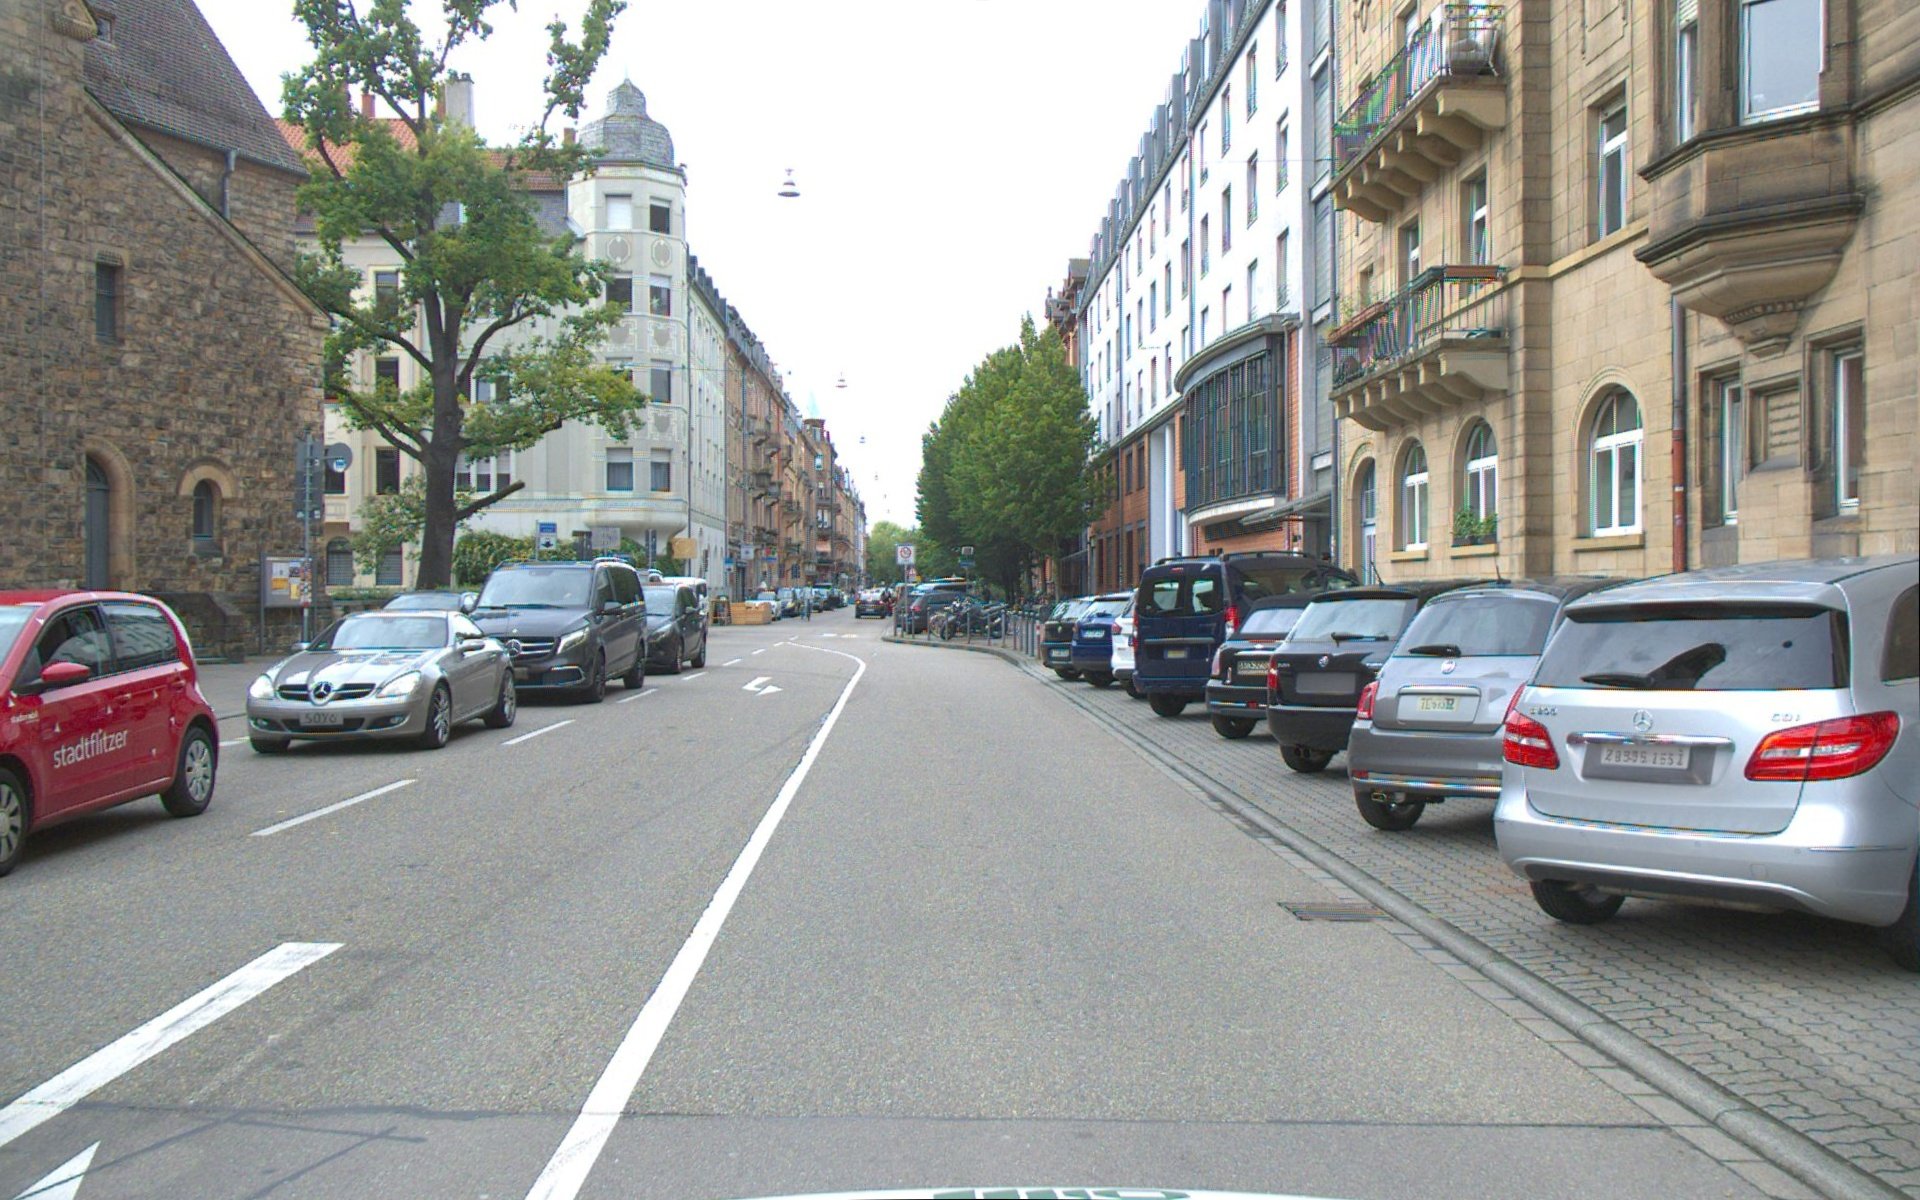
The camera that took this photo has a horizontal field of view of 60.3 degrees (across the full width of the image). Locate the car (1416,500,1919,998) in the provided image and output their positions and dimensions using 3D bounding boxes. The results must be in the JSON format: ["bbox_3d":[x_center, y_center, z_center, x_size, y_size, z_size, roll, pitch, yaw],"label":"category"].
[{"bbox_3d":[4.441,0.447,7.918,4.705,1.714,1.910,-3,0,-38],"label":"car"}]

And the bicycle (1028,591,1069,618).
[{"bbox_3d":[3.778,0.191,70.501,1.717,1.111,0.565,0,-1,-3],"label":"bicycle"}]

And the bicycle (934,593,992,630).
[{"bbox_3d":[0.098,0.393,54.159,1.847,1.161,0.611,-1,-1,-5],"label":"bicycle"}]

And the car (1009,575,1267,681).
[{"bbox_3d":[3.101,0.434,28.728,4.196,1.504,1.670,-4,2,-26],"label":"car"}]

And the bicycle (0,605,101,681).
[{"bbox_3d":[-14.667,0.671,26.264,1.740,1.187,0.742,0,0,11],"label":"bicycle"}]

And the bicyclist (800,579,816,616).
[{"bbox_3d":[-7.817,-0.144,84.998,0.766,1.899,0.714,0,0,0],"label":"bicyclist"}]

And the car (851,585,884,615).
[{"bbox_3d":[-5.485,0.020,98.336,1.954,1.710,3.997,0,-1,-3],"label":"car"}]

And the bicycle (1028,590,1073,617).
[{"bbox_3d":[3.731,0.161,68.291,1.799,1.111,0.542,0,-1,-3],"label":"bicycle"}]

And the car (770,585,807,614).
[{"bbox_3d":[-10.361,-0.027,99.937,1.905,1.645,3.941,1,0,-2],"label":"car"}]

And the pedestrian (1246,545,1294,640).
[{"bbox_3d":[5.982,-0.151,31.964,0.617,1.784,0.811,-3,0,-5],"label":"pedestrian"}]

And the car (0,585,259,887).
[{"bbox_3d":[-5.584,0.706,9.561,1.570,1.482,3.716,-2,0,-3],"label":"car"}]

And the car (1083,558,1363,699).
[{"bbox_3d":[3.734,0.346,23.140,3.967,1.629,1.739,-5,2,-42],"label":"car"}]

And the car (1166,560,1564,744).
[{"bbox_3d":[4.276,0.475,17.175,4.035,1.478,2.002,-5,1,-41],"label":"car"}]

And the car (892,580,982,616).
[{"bbox_3d":[-1.365,-0.139,99.997,5.344,2.027,1.925,-1,0,-36],"label":"car"}]

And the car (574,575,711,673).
[{"bbox_3d":[-5.886,0.391,31.161,1.807,1.713,4.547,0,1,-1],"label":"car"}]

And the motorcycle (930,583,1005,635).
[{"bbox_3d":[0.215,0.261,48.449,2.092,1.454,0.770,-1,-1,-5],"label":"motorcycle"}]

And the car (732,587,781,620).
[{"bbox_3d":[-10.158,0.177,82.925,1.904,1.580,3.817,-1,0,1],"label":"car"}]

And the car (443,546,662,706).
[{"bbox_3d":[-5.564,0.301,23.278,1.873,1.989,5.282,0,1,-1],"label":"car"}]

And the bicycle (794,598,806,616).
[{"bbox_3d":[-8.662,0.382,89.527,0.524,0.995,1.864,0,-1,-2],"label":"bicycle"}]

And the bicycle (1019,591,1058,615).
[{"bbox_3d":[3.582,0.138,75.511,1.717,1.111,0.565,0,-1,-3],"label":"bicycle"}]

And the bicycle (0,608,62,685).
[{"bbox_3d":[-14.828,0.703,25.471,1.740,1.150,0.662,0,0,11],"label":"bicycle"}]

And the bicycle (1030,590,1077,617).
[{"bbox_3d":[3.812,0.154,67.485,1.857,1.111,0.542,0,-1,-3],"label":"bicycle"}]

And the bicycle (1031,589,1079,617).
[{"bbox_3d":[3.837,0.136,66.880,1.894,1.111,0.576,0,-1,-3],"label":"bicycle"}]

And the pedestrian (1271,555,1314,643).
[{"bbox_3d":[5.947,-0.008,29.572,0.558,1.556,0.545,1,-2,-44],"label":"pedestrian"}]

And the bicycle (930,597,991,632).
[{"bbox_3d":[0.013,0.464,51.972,1.847,1.061,0.611,-1,-1,-5],"label":"bicycle"}]

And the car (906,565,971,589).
[{"bbox_3d":[-1.811,-1.947,140.310,5.333,1.900,1.929,-1,0,-32],"label":"car"}]

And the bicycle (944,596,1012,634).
[{"bbox_3d":[0.543,0.463,49.565,1.970,1.081,0.611,-1,-1,-5],"label":"bicycle"}]

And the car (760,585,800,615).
[{"bbox_3d":[-10.253,-0.014,94.465,1.905,1.645,3.941,1,0,-2],"label":"car"}]

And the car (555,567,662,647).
[{"bbox_3d":[-9.483,0.153,45.038,1.973,2.049,5.181,0,0,-2],"label":"car"}]

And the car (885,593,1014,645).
[{"bbox_3d":[-0.355,0.642,58.253,4.239,1.606,1.840,-3,1,-35],"label":"car"}]

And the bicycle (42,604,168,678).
[{"bbox_3d":[-13.997,0.663,27.094,1.740,1.172,0.742,0,0,11],"label":"bicycle"}]

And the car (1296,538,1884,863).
[{"bbox_3d":[4.307,0.492,10.930,4.426,1.601,1.721,-4,2,-41],"label":"car"}]

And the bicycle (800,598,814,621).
[{"bbox_3d":[-7.831,0.484,84.729,0.556,1.106,1.986,0,0,0],"label":"bicycle"}]

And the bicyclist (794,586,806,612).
[{"bbox_3d":[-8.655,-0.045,89.506,0.655,1.423,0.783,0,-1,-5],"label":"bicyclist"}]

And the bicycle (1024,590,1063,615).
[{"bbox_3d":[3.761,0.098,74.777,1.717,1.111,0.565,0,-1,-3],"label":"bicycle"}]

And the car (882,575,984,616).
[{"bbox_3d":[-1.472,-0.276,91.805,5.563,2.164,1.925,-1,0,-36],"label":"car"}]

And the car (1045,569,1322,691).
[{"bbox_3d":[3.506,0.418,25.843,3.948,1.560,1.912,-4,2,-31],"label":"car"}]

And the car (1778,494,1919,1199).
[{"bbox_3d":[4.284,0.527,4.566,4.178,1.712,1.892,-2,0,-36],"label":"car"}]

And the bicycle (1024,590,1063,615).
[{"bbox_3d":[3.720,0.113,73.960,1.717,1.111,0.565,0,-1,-3],"label":"bicycle"}]

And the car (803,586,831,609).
[{"bbox_3d":[-11.033,-0.188,128.011,1.905,1.772,3.941,1,0,-2],"label":"car"}]

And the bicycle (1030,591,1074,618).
[{"bbox_3d":[3.826,0.172,68.948,1.799,1.111,0.565,0,-1,-3],"label":"bicycle"}]

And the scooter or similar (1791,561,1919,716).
[{"bbox_3d":[7.550,0.321,13.857,0.425,1.208,1.218,-6,-1,-1],"label":"scooter or similar"}]

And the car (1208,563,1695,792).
[{"bbox_3d":[4.243,0.526,13.907,4.425,1.579,1.824,-2,1,-41],"label":"car"}]

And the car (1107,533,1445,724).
[{"bbox_3d":[3.903,0.262,20.010,4.250,1.939,1.850,-4,2,-43],"label":"car"}]

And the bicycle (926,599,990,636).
[{"bbox_3d":[-0.070,0.536,50.326,1.891,1.061,0.611,-1,-1,-5],"label":"bicycle"}]

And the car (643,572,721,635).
[{"bbox_3d":[-9.144,0.083,54.757,1.805,1.973,4.548,0,0,0],"label":"car"}]

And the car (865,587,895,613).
[{"bbox_3d":[-5.395,0.026,111.309,1.954,1.710,3.997,0,-1,-3],"label":"car"}]

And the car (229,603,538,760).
[{"bbox_3d":[-5.586,0.720,16.569,1.670,1.309,4.041,-2,0,-1],"label":"car"}]
